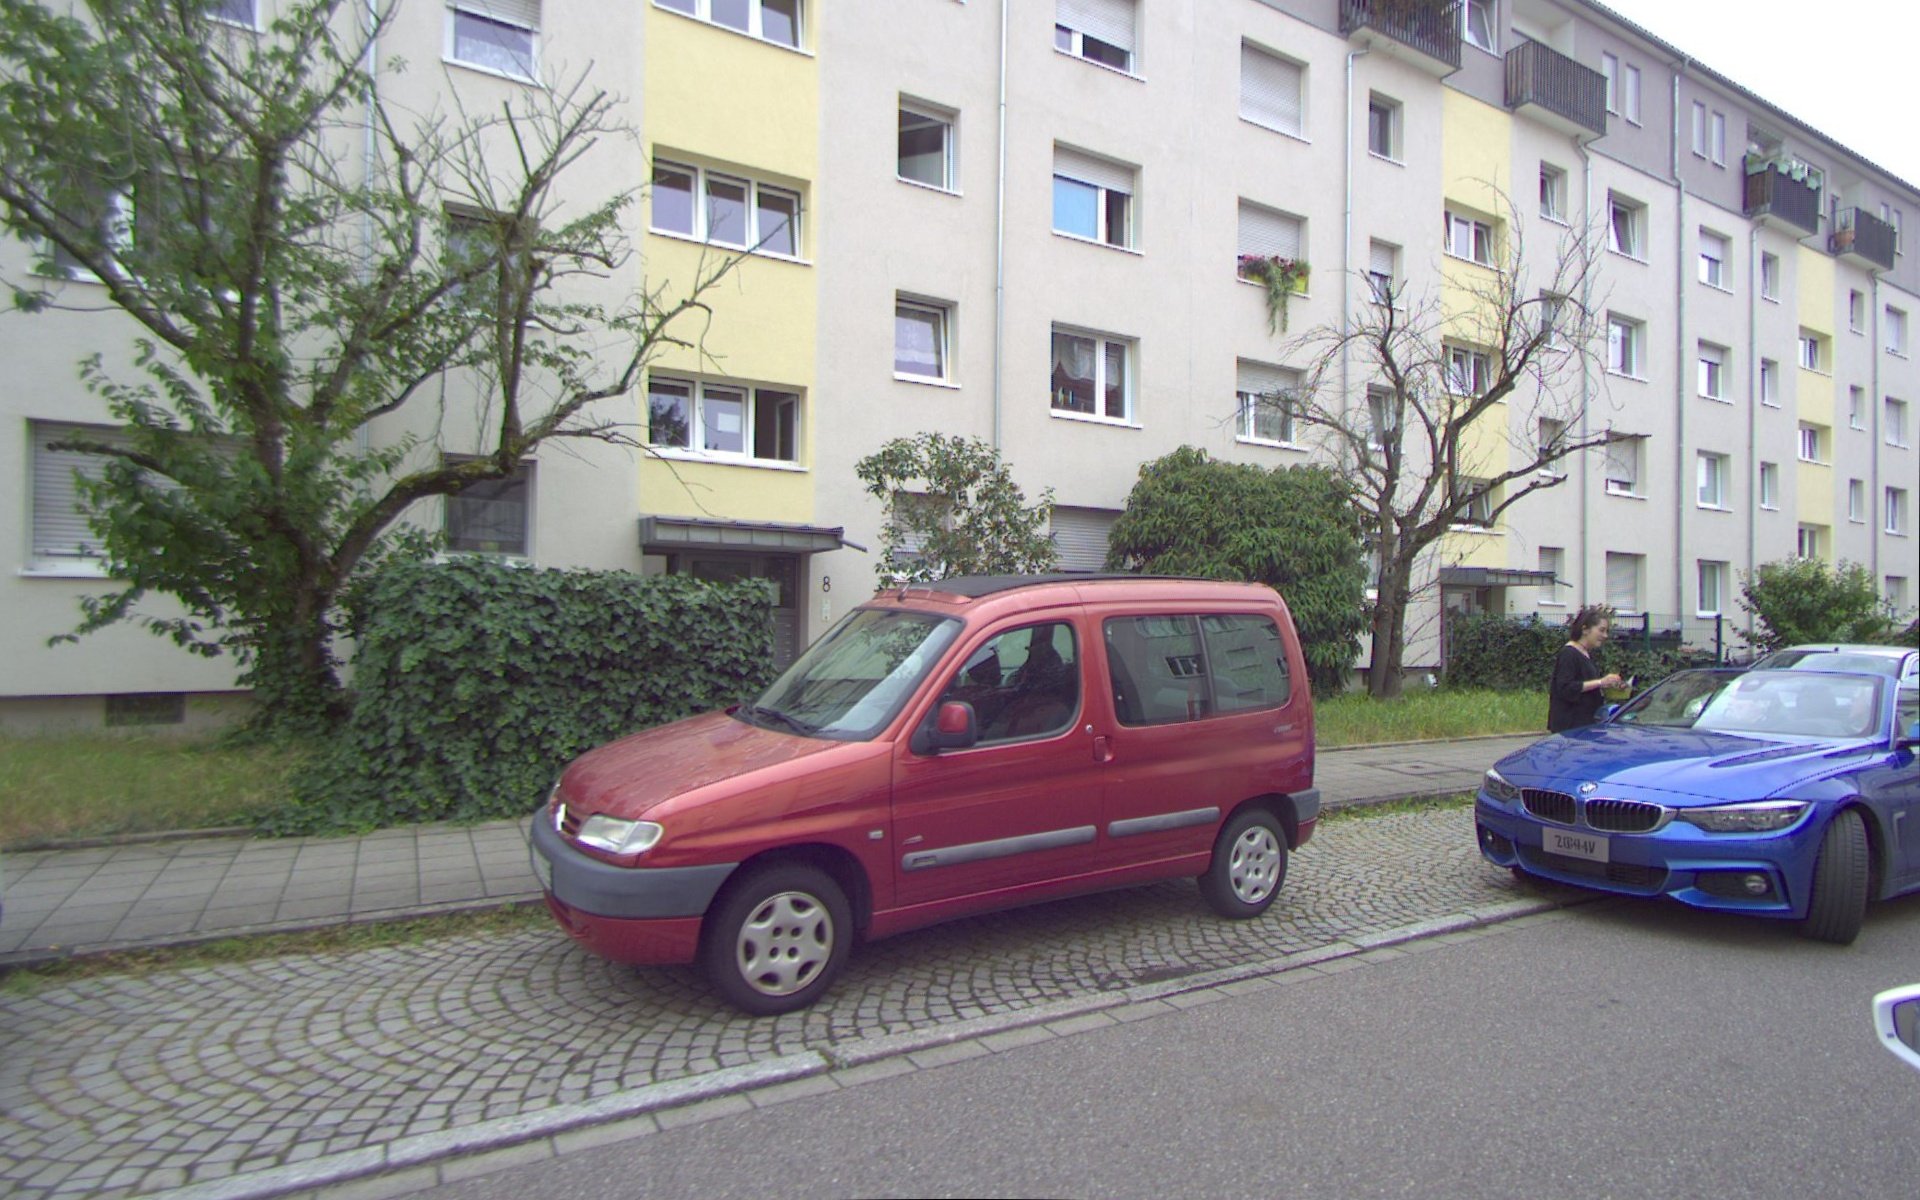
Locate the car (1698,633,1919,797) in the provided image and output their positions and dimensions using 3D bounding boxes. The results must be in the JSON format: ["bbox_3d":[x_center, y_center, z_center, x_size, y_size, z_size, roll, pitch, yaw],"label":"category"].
[{"bbox_3d":[9.961,1.129,10.966,3.741,1.484,1.736,1,-1,-30],"label":"car"}]

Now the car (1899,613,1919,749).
[{"bbox_3d":[14.804,1.144,13.528,4.421,1.763,1.886,2,1,-30],"label":"car"}]

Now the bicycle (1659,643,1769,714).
[{"bbox_3d":[14.050,1.430,18.698,2.327,1.228,0.785,1,-1,-30],"label":"bicycle"}]

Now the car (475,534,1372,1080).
[{"bbox_3d":[-0.049,0.721,5.281,4.313,1.794,1.946,2,0,-32],"label":"car"}]

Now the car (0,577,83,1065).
[{"bbox_3d":[-4.796,0.687,2.349,3.824,1.591,1.712,2,1,-30],"label":"car"}]

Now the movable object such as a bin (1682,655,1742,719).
[{"bbox_3d":[11.832,1.358,15.811,0.628,0.967,0.548,1,-2,-30],"label":"movable object such as a bin"}]

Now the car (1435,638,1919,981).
[{"bbox_3d":[5.285,1.025,6.393,4.445,1.470,1.837,2,0,-29],"label":"car"}]

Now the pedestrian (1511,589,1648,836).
[{"bbox_3d":[4.667,0.798,7.565,0.733,1.724,0.791,-1,-2,43],"label":"pedestrian"}]
